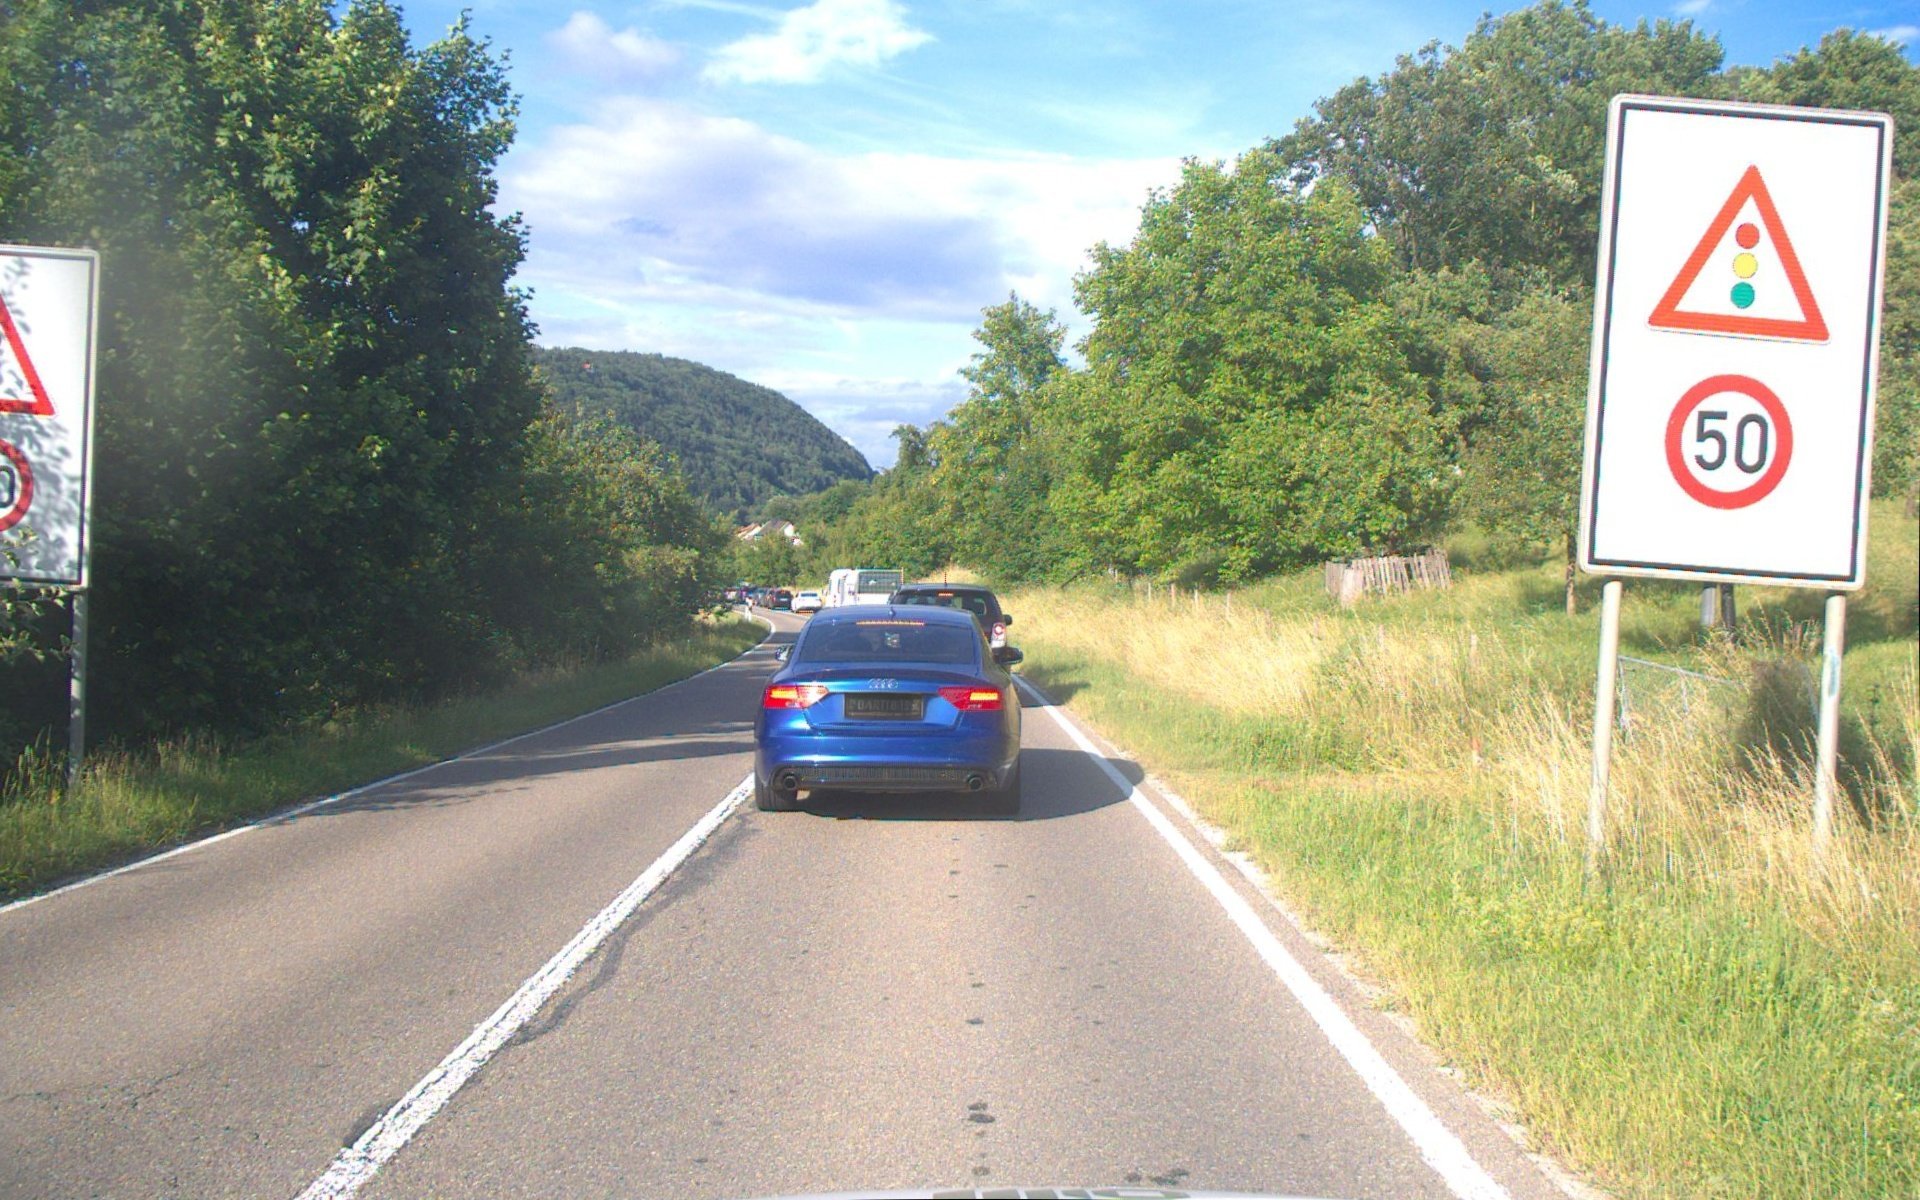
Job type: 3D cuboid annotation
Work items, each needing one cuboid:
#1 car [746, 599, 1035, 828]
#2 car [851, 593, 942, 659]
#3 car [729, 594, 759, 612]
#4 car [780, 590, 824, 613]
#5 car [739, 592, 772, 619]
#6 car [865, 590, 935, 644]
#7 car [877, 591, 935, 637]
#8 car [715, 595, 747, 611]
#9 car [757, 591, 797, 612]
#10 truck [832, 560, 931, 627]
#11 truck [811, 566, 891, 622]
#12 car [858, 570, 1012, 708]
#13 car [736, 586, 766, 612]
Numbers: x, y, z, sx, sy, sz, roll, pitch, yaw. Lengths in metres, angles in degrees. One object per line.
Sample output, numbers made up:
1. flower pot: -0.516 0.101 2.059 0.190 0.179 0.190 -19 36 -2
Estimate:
1. car: -0.420 0.707 12.157 1.757 1.383 4.000 1 0 0
2. car: -1.402 0.576 37.904 1.953 1.411 3.999 1 0 -1
3. car: -19.209 0.254 147.075 1.962 1.508 3.981 1 0 -17
4. car: -10.628 0.093 111.026 1.965 1.508 3.975 1 0 -21
5. car: -16.342 0.420 131.784 1.961 2.049 3.982 1 0 -16
6. car: -1.734 0.494 48.951 1.953 1.508 3.999 1 0 -1
7. car: -1.860 0.475 57.937 1.953 1.508 3.999 1 0 -1
8. car: -21.560 0.265 155.639 1.967 1.508 3.972 1 0 -23
9. car: -13.605 0.106 122.867 1.965 1.508 3.975 1 0 -21
10. truck: -3.599 -0.271 72.995 2.813 2.712 10.363 1 0 -11
11. truck: -5.862 -0.302 87.003 2.813 2.712 10.614 1 0 -11
12. car: -0.349 0.513 23.165 1.953 1.732 3.999 1 0 -1
13. car: -17.647 -0.080 139.546 1.961 2.049 3.984 1 0 -15
